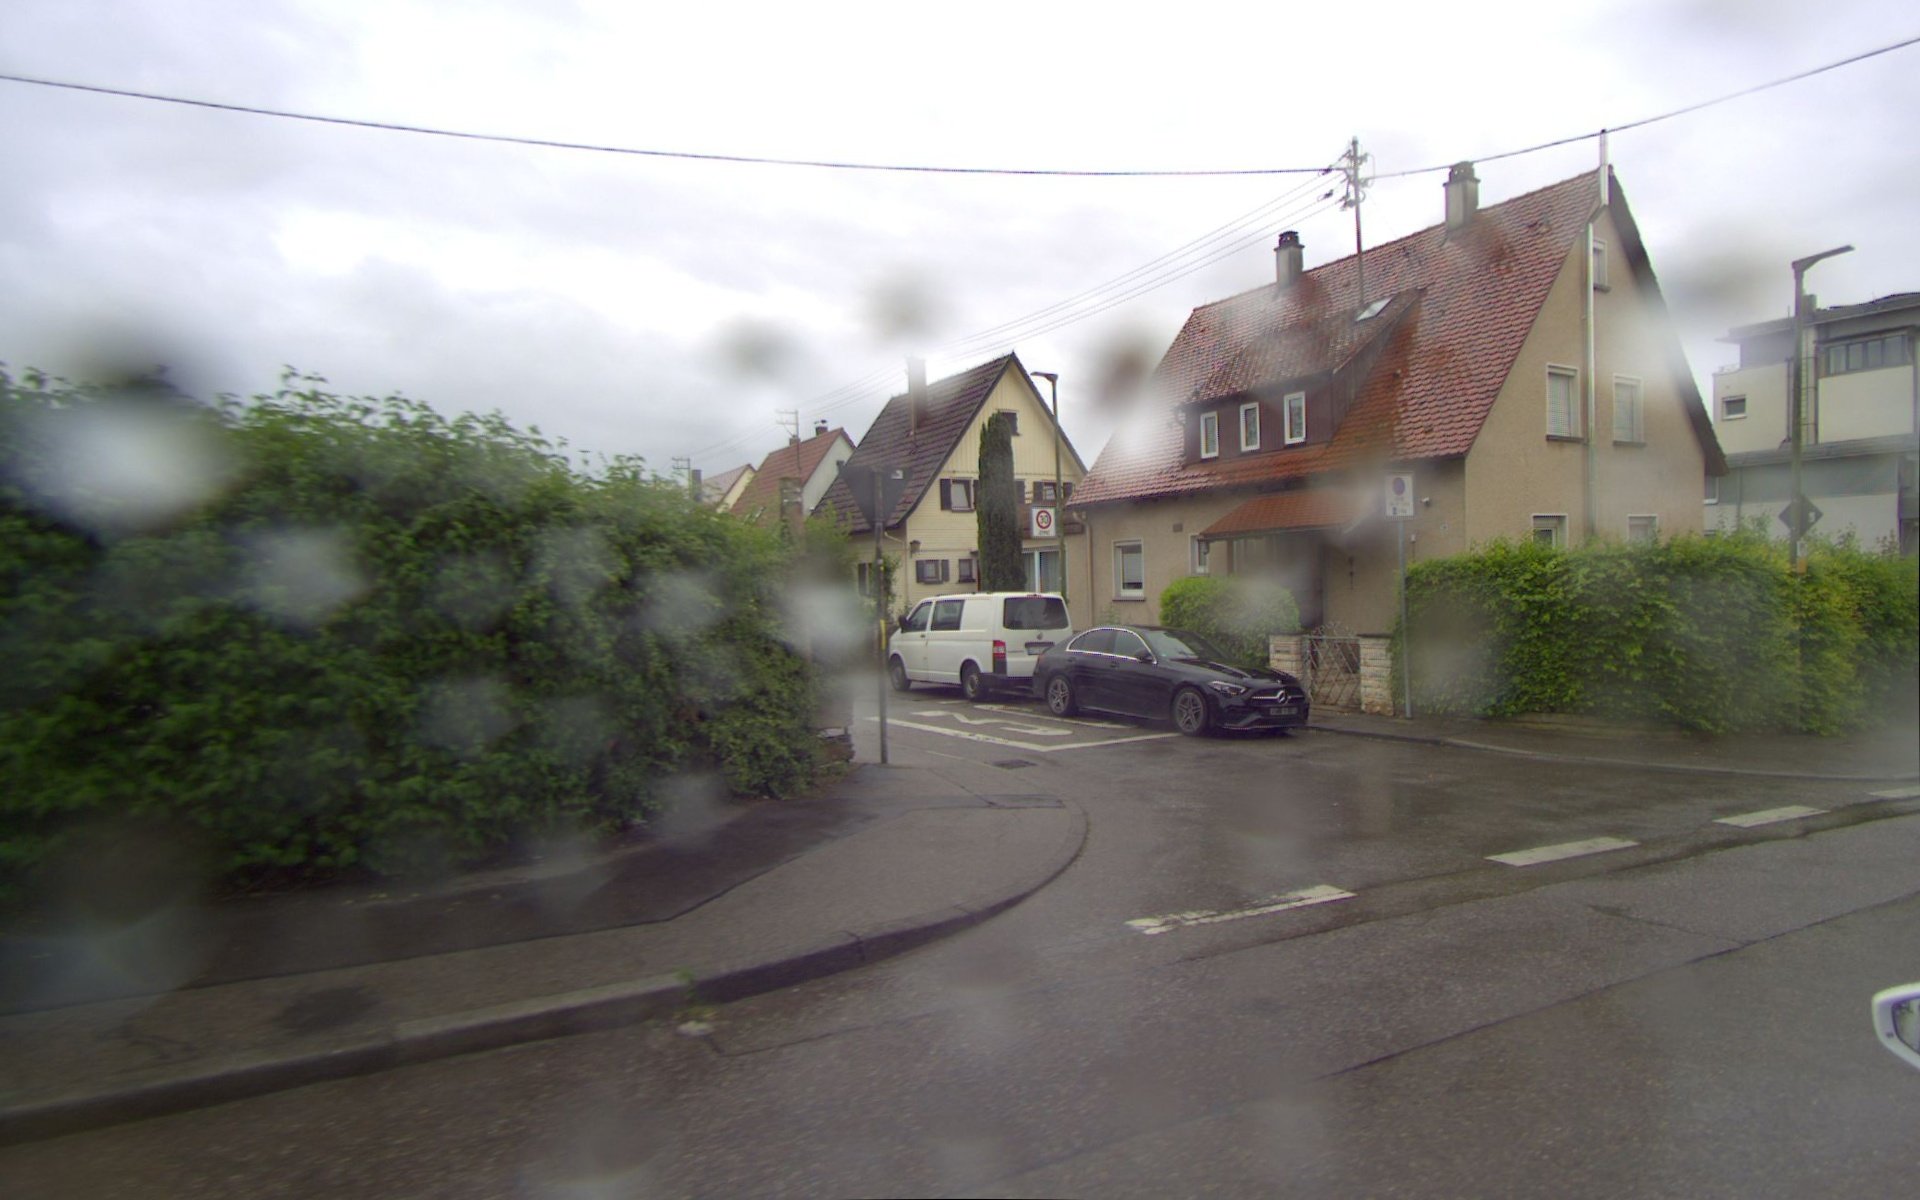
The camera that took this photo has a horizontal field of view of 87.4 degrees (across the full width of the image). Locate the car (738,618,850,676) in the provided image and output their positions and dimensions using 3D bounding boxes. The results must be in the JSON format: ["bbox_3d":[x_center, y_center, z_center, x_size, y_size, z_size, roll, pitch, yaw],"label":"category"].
[{"bbox_3d":[-4.813,1.278,28.709,1.872,1.515,4.055,1,-1,-30],"label":"car"}]

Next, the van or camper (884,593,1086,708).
[{"bbox_3d":[0.345,0.905,19.593,1.912,1.956,4.528,1,-1,-29],"label":"van or camper"}]

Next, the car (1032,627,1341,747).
[{"bbox_3d":[3.082,1.127,14.725,1.872,1.417,4.561,1,-1,-29],"label":"car"}]
